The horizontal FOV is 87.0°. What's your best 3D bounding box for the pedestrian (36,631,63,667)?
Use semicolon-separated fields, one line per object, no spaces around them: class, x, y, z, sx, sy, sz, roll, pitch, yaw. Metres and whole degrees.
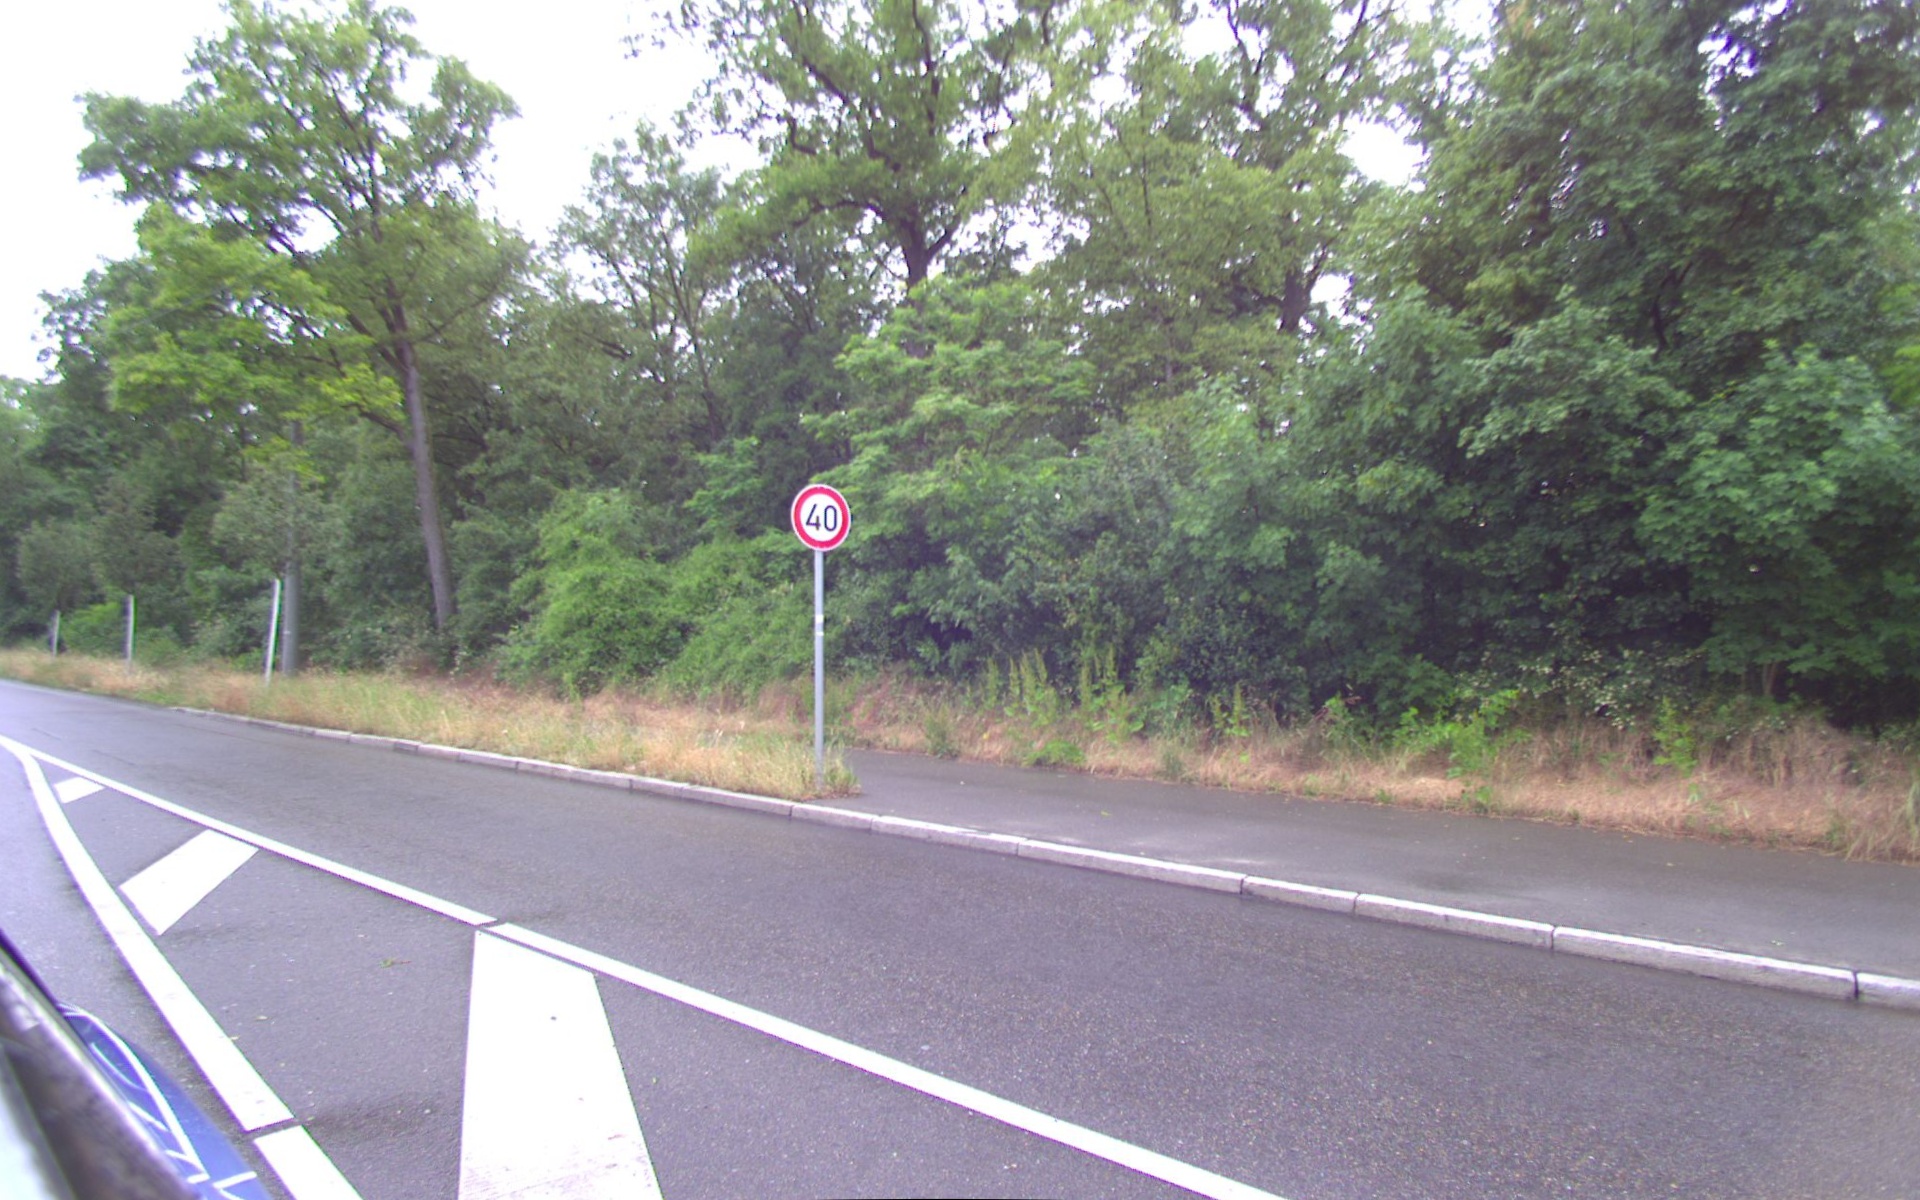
pedestrian;-41.176;2.224;45.768;0.731;1.620;0.773;-2;-3;38
